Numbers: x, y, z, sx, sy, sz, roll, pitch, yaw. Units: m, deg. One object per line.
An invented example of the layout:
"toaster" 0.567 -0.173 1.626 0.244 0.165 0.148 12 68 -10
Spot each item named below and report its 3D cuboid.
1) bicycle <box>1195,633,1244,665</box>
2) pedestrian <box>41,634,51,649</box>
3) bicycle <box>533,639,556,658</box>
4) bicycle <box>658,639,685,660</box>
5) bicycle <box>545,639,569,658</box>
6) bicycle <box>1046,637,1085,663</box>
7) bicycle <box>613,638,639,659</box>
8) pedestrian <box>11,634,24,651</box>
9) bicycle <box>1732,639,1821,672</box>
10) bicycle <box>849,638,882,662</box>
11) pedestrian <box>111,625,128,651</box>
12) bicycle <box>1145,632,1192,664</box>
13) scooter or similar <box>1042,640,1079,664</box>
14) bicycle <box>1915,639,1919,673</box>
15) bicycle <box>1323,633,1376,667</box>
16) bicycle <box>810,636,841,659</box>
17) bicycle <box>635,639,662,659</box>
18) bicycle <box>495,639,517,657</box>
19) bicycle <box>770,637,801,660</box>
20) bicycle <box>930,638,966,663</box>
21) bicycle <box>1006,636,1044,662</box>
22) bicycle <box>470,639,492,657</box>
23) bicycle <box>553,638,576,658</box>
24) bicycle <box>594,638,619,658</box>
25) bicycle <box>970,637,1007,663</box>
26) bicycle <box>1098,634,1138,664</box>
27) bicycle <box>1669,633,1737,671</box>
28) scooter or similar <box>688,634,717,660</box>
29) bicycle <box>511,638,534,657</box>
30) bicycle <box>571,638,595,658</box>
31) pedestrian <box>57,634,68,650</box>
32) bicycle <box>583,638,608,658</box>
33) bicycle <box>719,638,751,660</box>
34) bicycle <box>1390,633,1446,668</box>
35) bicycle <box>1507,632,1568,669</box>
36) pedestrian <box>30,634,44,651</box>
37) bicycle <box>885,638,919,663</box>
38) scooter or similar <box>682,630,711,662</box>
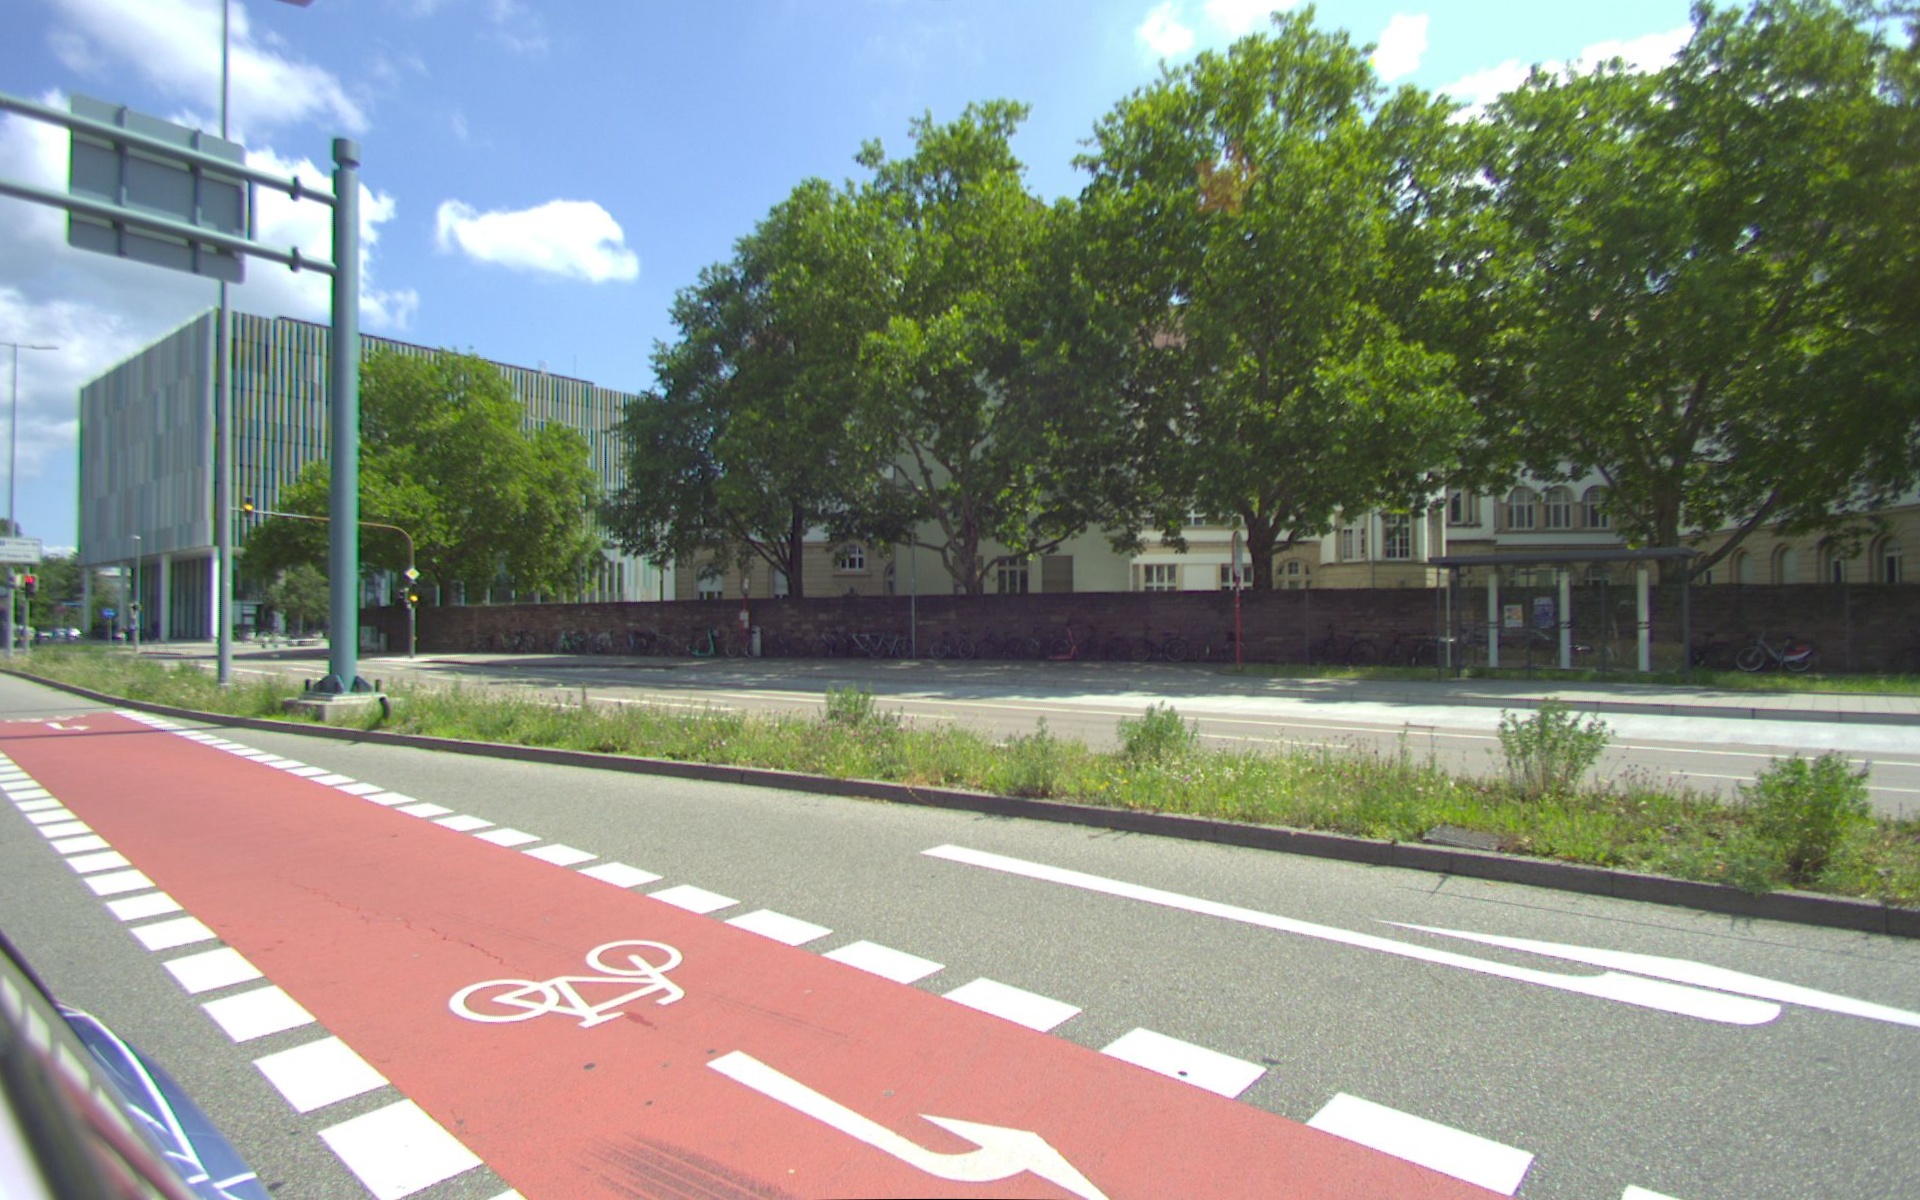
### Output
"bicycle" 7.791 1.470 30.422 1.389 0.972 0.262 -1 -2 28
"pedestrian" -89.116 4.055 98.691 0.686 1.464 0.689 1 -3 -45
"bicycle" -18.609 2.164 45.318 1.230 0.837 0.262 -1 -2 29
"bicycle" -11.582 1.968 40.588 1.231 0.837 0.262 -2 -2 30
"bicycle" -17.515 2.096 43.956 1.230 0.837 0.262 -1 -2 29
"bicycle" 3.393 1.594 32.463 1.230 0.837 0.262 -1 -2 28
"bicycle" -13.918 2.027 42.193 1.231 0.837 0.262 -2 -2 30
"pedestrian" -94.536 4.221 101.492 0.994 1.669 0.853 -2 -2 39
"bicycle" 20.728 1.406 25.725 1.734 0.823 0.327 -1 -2 18
"bicycle" -3.345 1.754 35.904 1.231 0.837 0.262 -1 -2 30
"pedestrian" -68.138 3.080 82.070 0.994 2.029 0.853 -2 -2 39
"bicycle" 6.384 1.477 31.042 1.385 0.972 0.263 -1 -2 20
"scooter or similar" 3.163 1.629 31.814 1.133 0.734 0.264 -1 -2 18
"bicycle" 24.429 1.357 24.605 1.734 0.823 0.382 -1 -2 18
"bicycle" 11.163 1.427 29.038 1.384 0.972 0.263 -1 -2 18
"bicycle" -4.905 1.732 36.864 1.231 0.837 0.262 -1 -2 30
"bicycle" -12.761 2.008 41.465 1.231 0.837 0.262 -2 -2 30
"bicycle" -21.066 2.232 46.975 1.231 0.837 0.262 -2 -2 30
"bicycle" -6.485 1.782 37.574 1.231 0.837 0.262 -1 -2 30
"bicycle" -0.404 1.696 34.266 1.230 0.837 0.262 -1 -2 28
"bicycle" 2.117 1.611 33.075 1.230 0.837 0.262 -1 -2 28
"bicycle" -22.705 2.261 47.967 1.231 0.837 0.262 -2 -2 30
"bicycle" -17.420 2.112 44.568 1.230 0.837 0.262 -1 -2 29
"bicycle" -14.998 2.018 42.888 1.231 0.837 0.262 -2 -2 30
"bicycle" 0.945 1.668 33.724 1.230 0.837 0.262 -1 -2 28
"bicycle" 4.925 1.523 31.593 1.230 0.915 0.262 -1 -2 28
"bicycle" 19.216 1.346 26.199 1.384 0.972 0.263 -1 -2 18
"scooter or similar" -10.159 1.843 39.927 1.133 1.028 0.264 -1 -2 19
"bicycle" -19.986 2.176 46.206 1.230 0.837 0.262 -1 -2 29
"bicycle" -16.281 2.083 43.733 1.231 0.837 0.262 -2 -2 30
"pedestrian" -84.551 3.963 95.299 0.689 1.464 0.687 -2 -3 44
"bicycle" -15.345 2.005 42.564 1.230 0.837 0.262 -1 -2 29
"bicycle" -8.661 1.887 38.957 1.226 0.837 0.263 -1 -2 19
"bicycle" 12.848 1.405 28.424 1.384 0.972 0.263 -1 -2 18
"bicycle" 15.614 1.369 27.393 1.384 0.972 0.263 -1 -2 18
"pedestrian" -79.088 3.654 86.709 0.687 1.464 0.689 -2 -2 34
"bicycle" -2.030 1.752 35.123 1.231 0.837 0.262 -1 -2 30
"scooter or similar" -10.135 1.761 38.921 1.230 1.199 0.262 -1 -2 29
